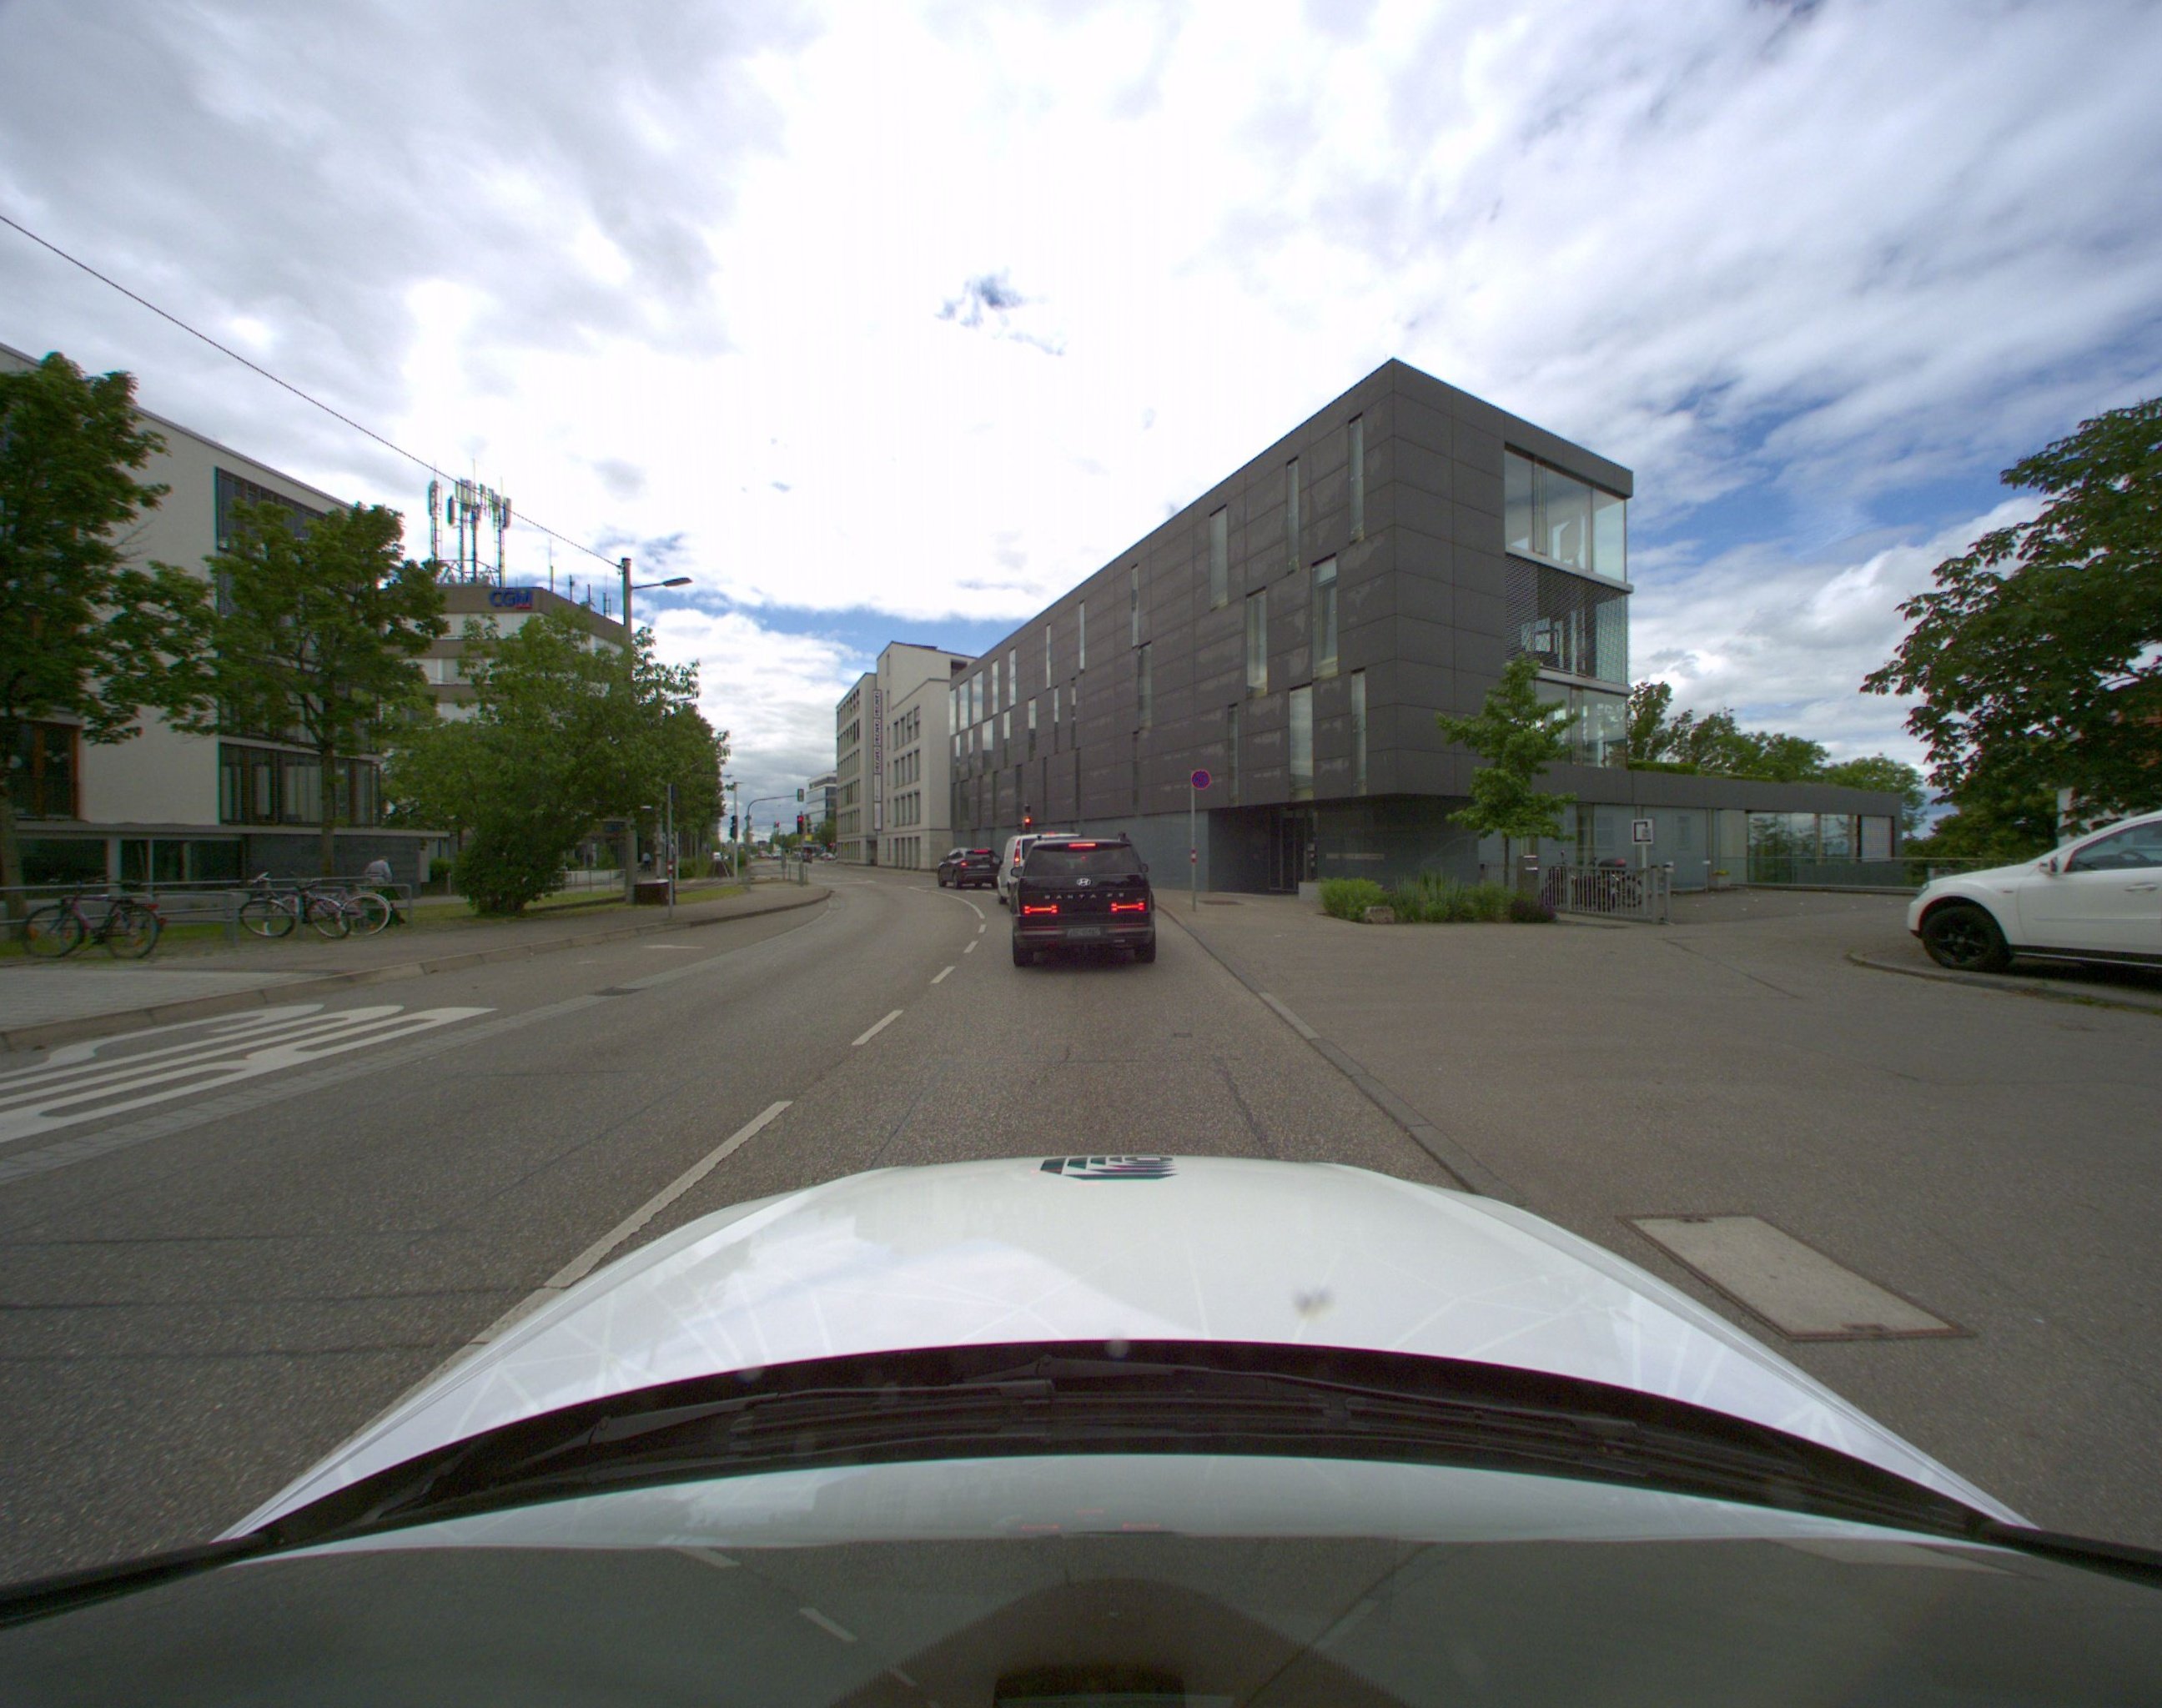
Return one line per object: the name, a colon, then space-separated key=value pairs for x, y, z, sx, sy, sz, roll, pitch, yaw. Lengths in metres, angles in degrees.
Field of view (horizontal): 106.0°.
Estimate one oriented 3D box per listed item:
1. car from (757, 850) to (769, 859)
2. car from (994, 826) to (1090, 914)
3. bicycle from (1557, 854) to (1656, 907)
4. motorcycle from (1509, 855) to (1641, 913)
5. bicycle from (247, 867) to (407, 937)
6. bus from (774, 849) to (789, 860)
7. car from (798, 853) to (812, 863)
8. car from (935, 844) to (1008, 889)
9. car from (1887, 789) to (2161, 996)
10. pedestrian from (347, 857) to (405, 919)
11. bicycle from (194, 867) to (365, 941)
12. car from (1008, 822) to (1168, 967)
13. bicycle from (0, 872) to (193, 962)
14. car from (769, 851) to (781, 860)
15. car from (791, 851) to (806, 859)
car: x=-64.941 y=0.090 z=166.105 sx=1.862 sy=1.923 sz=3.965 roll=-1 pitch=0 yaw=-27
car: x=-1.133 y=0.342 z=21.341 sx=1.856 sy=2.033 sz=4.420 roll=-1 pitch=1 yaw=-11
bicycle: x=13.272 y=0.630 z=20.649 sx=0.617 sy=1.260 sz=2.085 roll=-1 pitch=0 yaw=-25
motorcycle: x=11.728 y=0.674 z=19.484 sx=0.850 sy=1.260 sz=2.672 roll=-1 pitch=0 yaw=-25
bicycle: x=-12.601 y=0.794 z=13.641 sx=2.091 sy=1.106 sz=0.632 roll=1 pitch=0 yaw=1
bus: x=-84.319 y=0.022 z=229.222 sx=3.097 sy=2.928 sz=10.259 roll=1 pitch=0 yaw=-24
car: x=-42.878 y=0.584 z=126.380 sx=1.904 sy=1.486 sz=3.977 roll=-1 pitch=0 yaw=-17
car: x=-4.575 y=0.501 z=33.610 sx=1.856 sy=1.677 sz=4.341 roll=-2 pitch=0 yaw=-23
car: x=10.595 y=0.312 z=7.431 sx=1.987 sy=1.838 sz=4.517 roll=-2 pitch=-1 yaw=0
pedestrian: x=-20.660 y=0.975 z=23.883 sx=0.827 sy=1.765 sz=0.907 roll=2 pitch=-1 yaw=1
bicycle: x=-12.670 y=0.779 z=12.908 sx=2.091 sy=1.106 sz=0.632 roll=1 pitch=0 yaw=1
car: x=0.021 y=0.487 z=11.950 sx=1.910 sy=1.725 sz=4.167 roll=1 pitch=0 yaw=-2
bicycle: x=-12.935 y=0.808 z=10.693 sx=1.921 sy=1.106 sz=0.587 roll=1 pitch=0 yaw=1
car: x=-56.441 y=0.231 z=150.346 sx=1.860 sy=1.695 sz=3.969 roll=-1 pitch=0 yaw=-23
car: x=-57.797 y=0.270 z=166.551 sx=1.866 sy=1.628 sz=3.955 roll=-1 pitch=0 yaw=-38
